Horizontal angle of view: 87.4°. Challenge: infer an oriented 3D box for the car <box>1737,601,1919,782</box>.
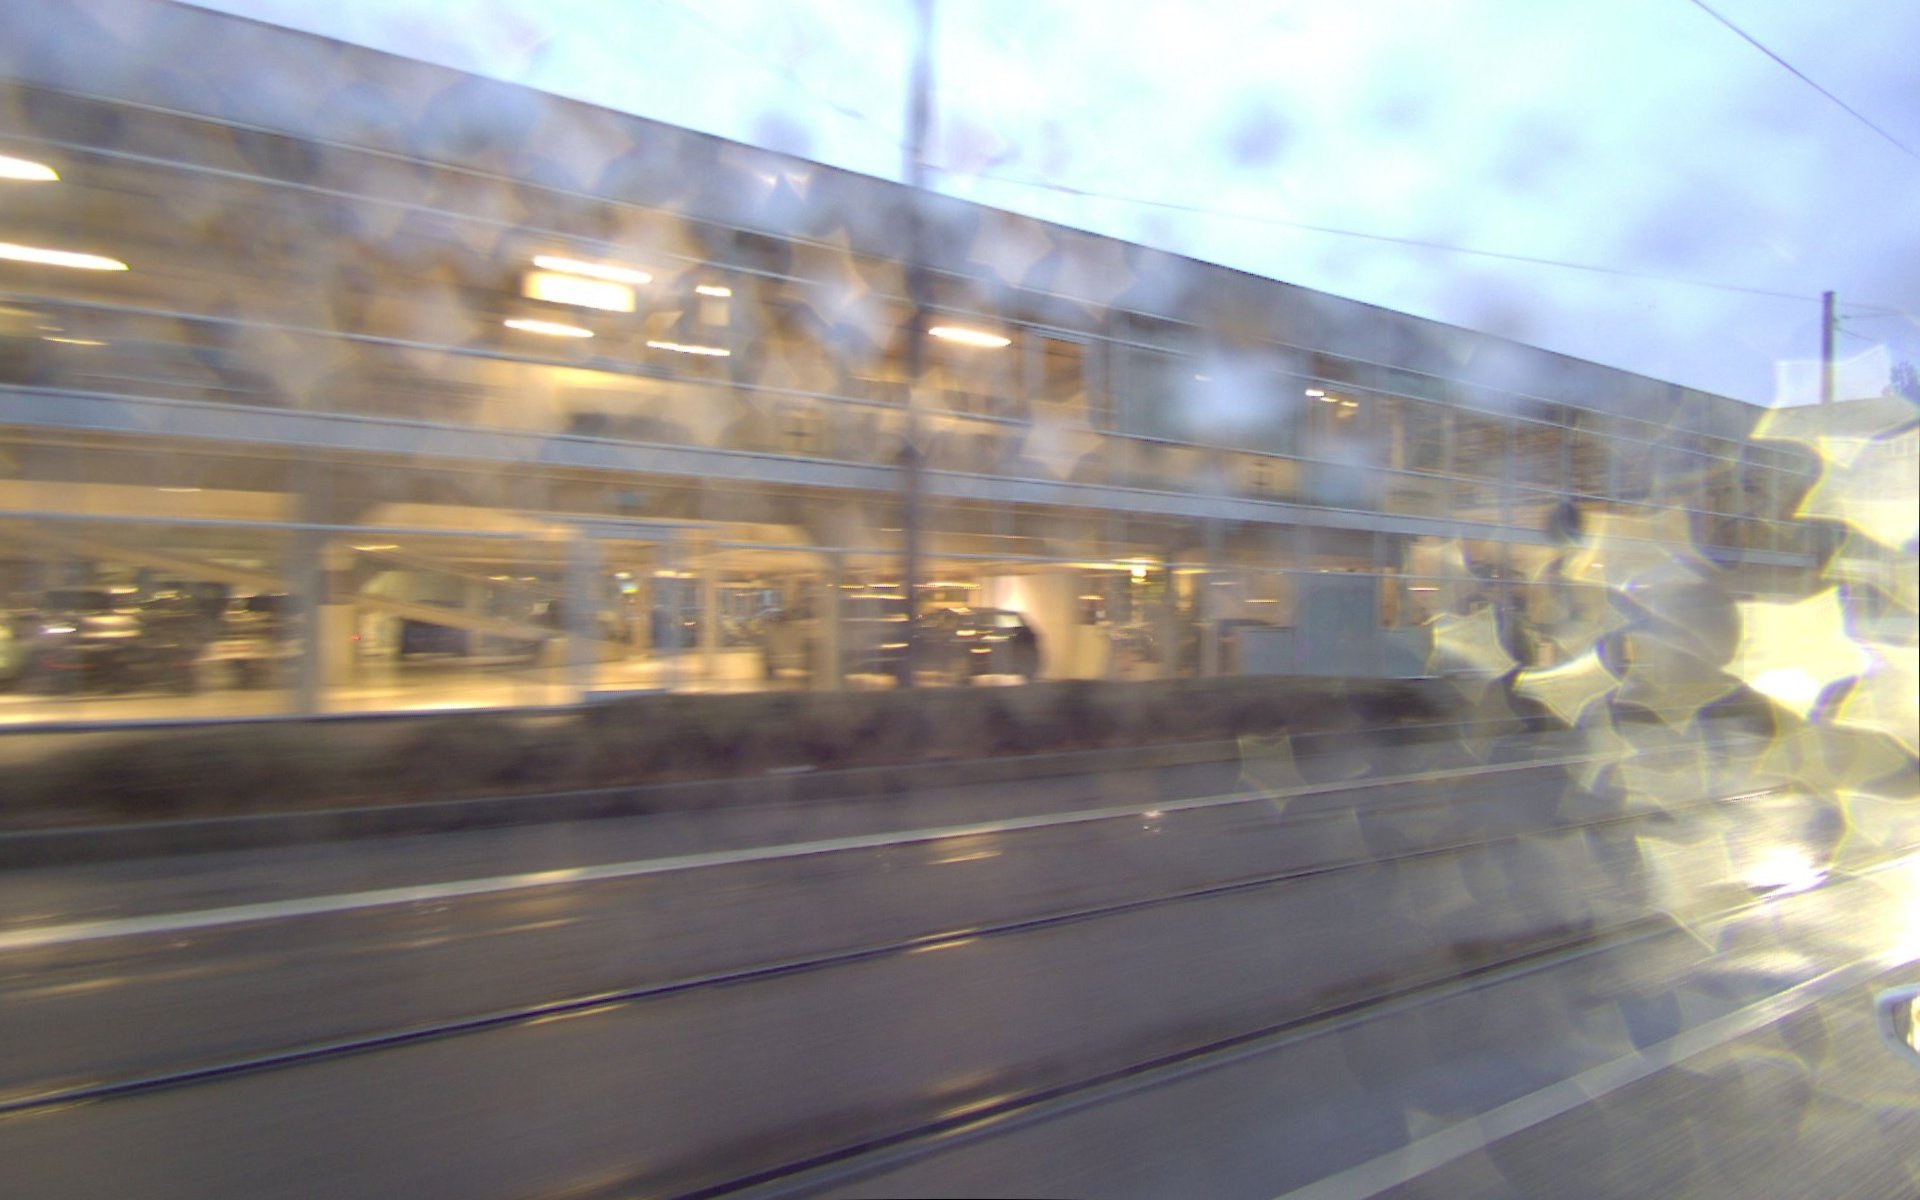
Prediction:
[{"bbox_3d":[10.166,0.854,10.366,4.388,1.599,1.833,1,-1,-29],"label":"car"}]
